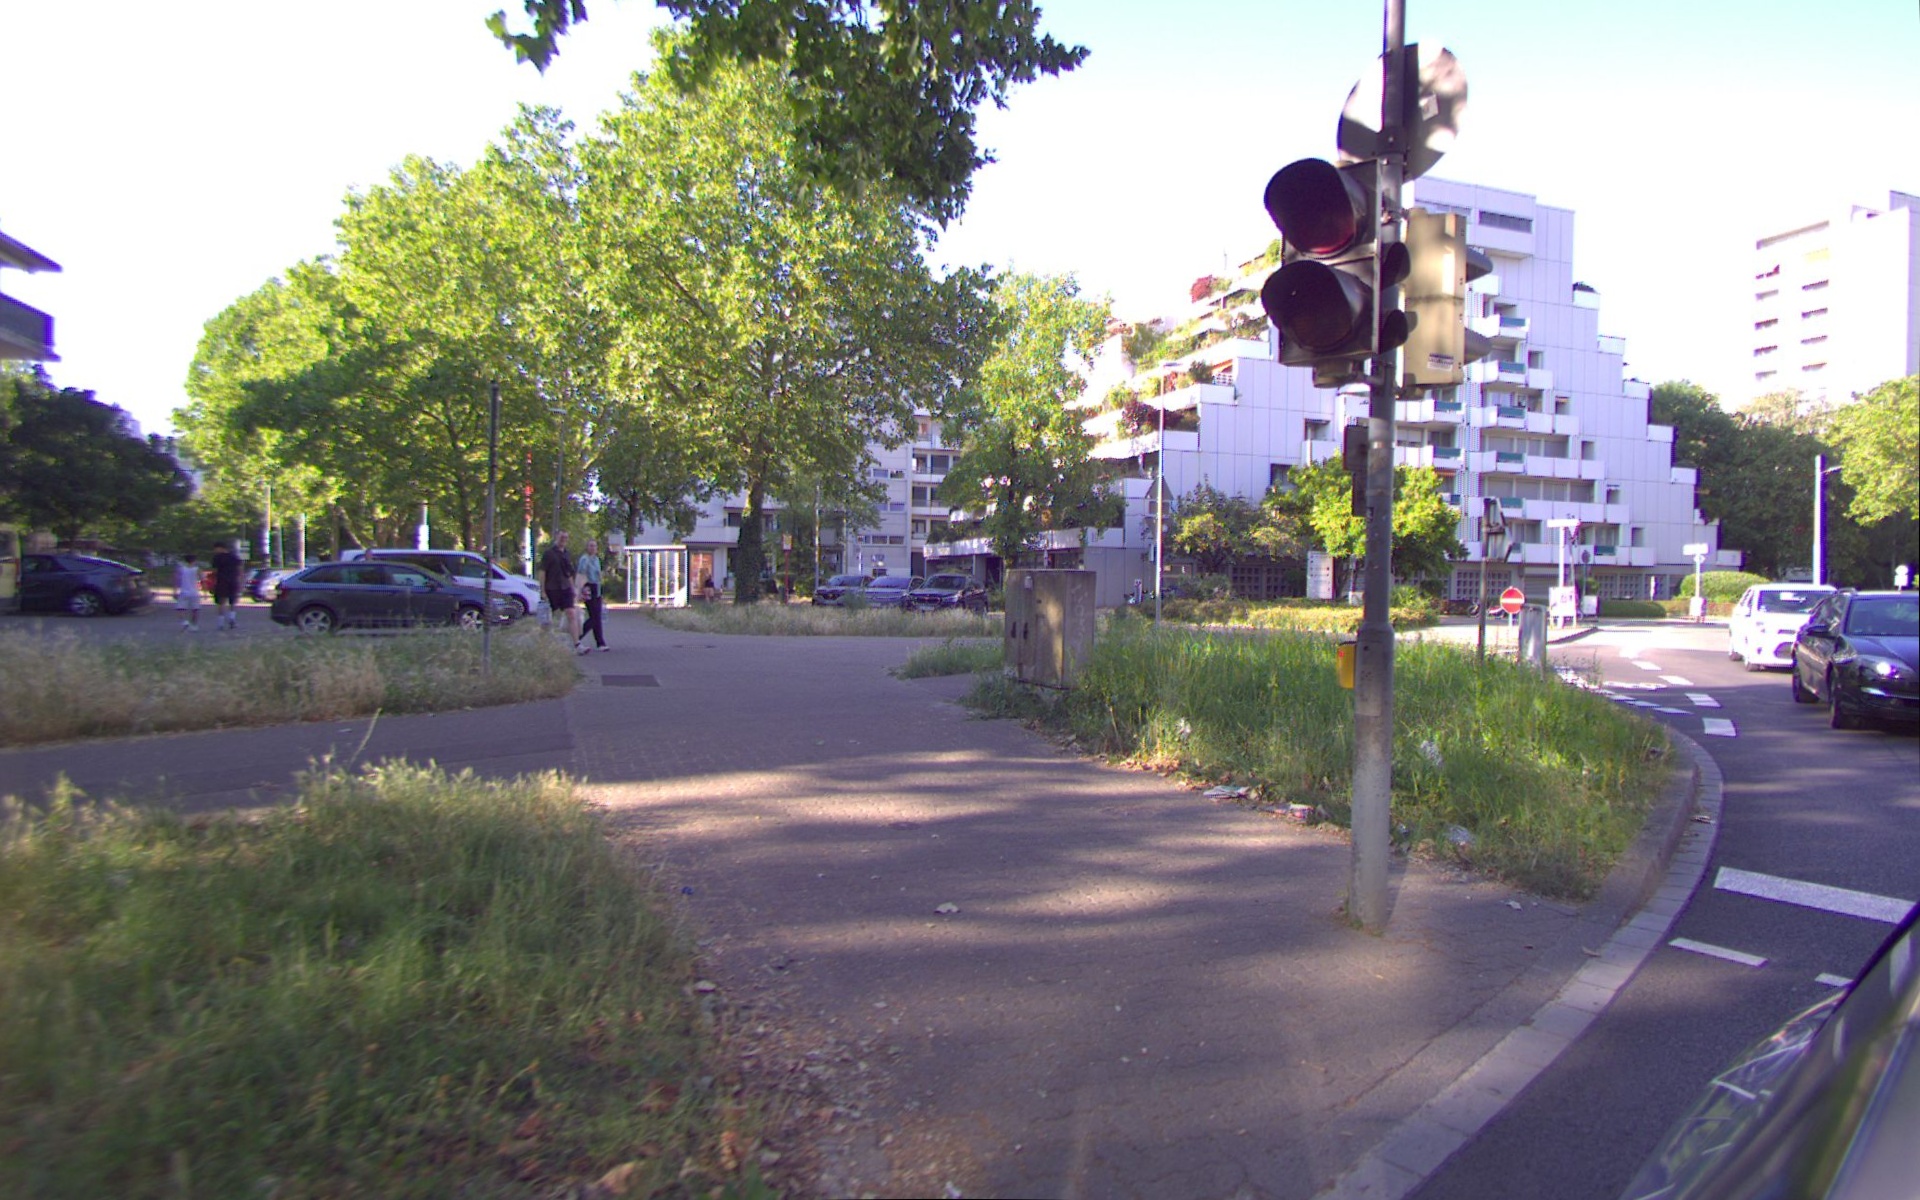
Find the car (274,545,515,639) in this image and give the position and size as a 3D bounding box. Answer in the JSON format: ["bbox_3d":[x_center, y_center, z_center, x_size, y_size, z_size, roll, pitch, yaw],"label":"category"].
[{"bbox_3d":[-11.000,-0.136,19.960,3.904,1.542,1.679,4,0,-27],"label":"car"}]

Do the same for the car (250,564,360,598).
[{"bbox_3d":[-29.911,-0.856,46.277,3.924,1.484,1.862,0,2,-45],"label":"car"}]

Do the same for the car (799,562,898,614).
[{"bbox_3d":[-4.005,-0.397,36.949,1.852,1.659,3.968,3,-1,23],"label":"car"}]

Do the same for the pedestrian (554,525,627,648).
[{"bbox_3d":[-5.878,-0.219,16.119,0.773,1.903,0.800,1,1,13],"label":"pedestrian"}]

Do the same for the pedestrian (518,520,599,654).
[{"bbox_3d":[-6.049,-0.208,15.279,0.826,1.956,0.780,1,1,11],"label":"pedestrian"}]

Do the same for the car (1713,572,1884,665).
[{"bbox_3d":[14.930,0.282,17.979,3.470,1.472,1.654,0,1,-39],"label":"car"}]

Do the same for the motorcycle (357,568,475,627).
[{"bbox_3d":[-12.089,-0.062,22.584,2.269,1.263,0.953,0,1,-26],"label":"motorcycle"}]

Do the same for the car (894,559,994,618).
[{"bbox_3d":[-0.436,-0.322,32.757,1.912,1.680,4.453,4,0,16],"label":"car"}]

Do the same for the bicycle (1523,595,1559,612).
[{"bbox_3d":[28.832,0.173,50.240,1.563,0.794,0.459,2,1,30],"label":"bicycle"}]

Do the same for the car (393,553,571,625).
[{"bbox_3d":[-14.102,-0.314,30.150,4.536,1.798,2.006,4,0,-22],"label":"car"}]

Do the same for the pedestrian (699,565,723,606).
[{"bbox_3d":[-10.323,-0.618,41.981,0.739,1.682,0.622,2,1,36],"label":"pedestrian"}]

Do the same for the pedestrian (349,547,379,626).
[{"bbox_3d":[-13.480,-0.312,22.910,0.521,1.773,0.561,-1,1,-27],"label":"pedestrian"}]

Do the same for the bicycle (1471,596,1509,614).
[{"bbox_3d":[26.528,0.266,50.632,1.667,0.848,0.465,1,1,-3],"label":"bicycle"}]

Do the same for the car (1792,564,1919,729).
[{"bbox_3d":[10.736,0.442,11.255,1.833,1.565,4.468,0,0,34],"label":"car"}]

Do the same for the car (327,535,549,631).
[{"bbox_3d":[-13.686,-0.429,26.918,4.946,2.123,2.005,4,0,-22],"label":"car"}]

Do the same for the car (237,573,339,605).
[{"bbox_3d":[-33.225,-0.540,50.083,3.924,1.484,1.862,0,2,-45],"label":"car"}]

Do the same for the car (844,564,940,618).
[{"bbox_3d":[-2.246,-0.274,34.602,1.803,1.607,4.345,4,0,16],"label":"car"}]

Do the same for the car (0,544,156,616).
[{"bbox_3d":[-23.763,-0.531,26.701,3.600,1.654,1.581,4,0,-22],"label":"car"}]

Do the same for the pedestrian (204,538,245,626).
[{"bbox_3d":[-15.692,-0.385,21.588,0.674,1.832,0.964,0,1,-36],"label":"pedestrian"}]

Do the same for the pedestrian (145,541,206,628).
[{"bbox_3d":[-15.934,-0.315,20.576,0.932,1.719,0.883,0,1,-35],"label":"pedestrian"}]

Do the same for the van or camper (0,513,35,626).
[{"bbox_3d":[-21.991,-0.653,19.803,5.257,2.275,2.270,1,1,-20],"label":"van or camper"}]
